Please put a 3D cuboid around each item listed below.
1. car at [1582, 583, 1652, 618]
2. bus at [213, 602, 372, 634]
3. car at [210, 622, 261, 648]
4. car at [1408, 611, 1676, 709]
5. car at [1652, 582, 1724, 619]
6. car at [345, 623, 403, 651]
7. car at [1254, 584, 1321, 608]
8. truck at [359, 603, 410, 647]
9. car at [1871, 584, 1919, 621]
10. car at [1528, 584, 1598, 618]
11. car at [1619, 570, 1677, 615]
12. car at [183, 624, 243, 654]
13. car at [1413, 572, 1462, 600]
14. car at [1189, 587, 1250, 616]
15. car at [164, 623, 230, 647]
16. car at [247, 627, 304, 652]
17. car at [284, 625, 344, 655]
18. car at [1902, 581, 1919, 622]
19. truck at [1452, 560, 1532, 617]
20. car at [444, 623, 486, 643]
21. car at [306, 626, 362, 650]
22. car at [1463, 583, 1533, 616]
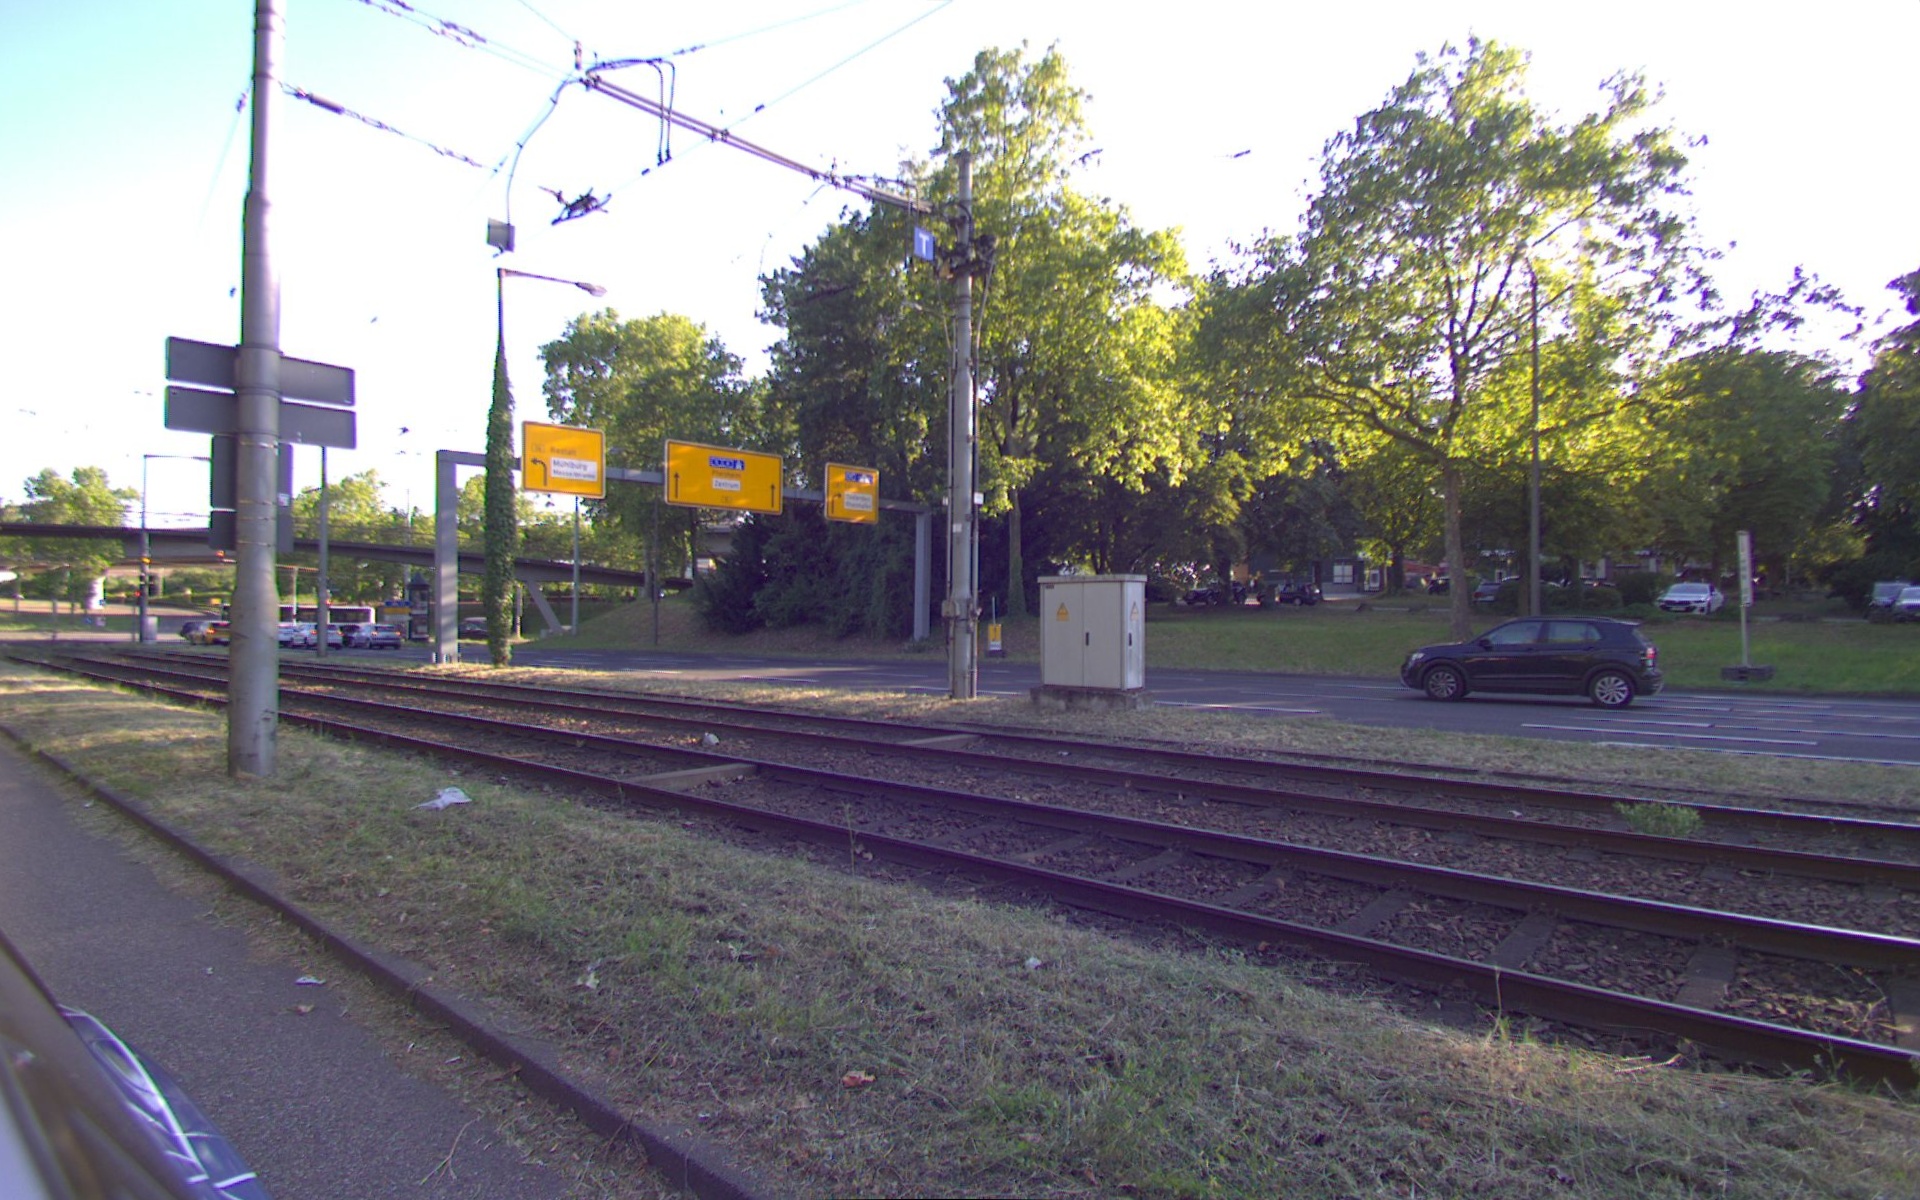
[{"bbox_3d":[30.036,0.008,46.217,1.942,1.521,4.039,0,0,44],"label":"car"},{"bbox_3d":[-65.861,1.714,100.398,12.967,2.884,2.424,-1,0,-29],"label":"bus"},{"bbox_3d":[-45.837,2.182,64.041,4.228,1.561,1.892,-1,-2,44],"label":"car"},{"bbox_3d":[10.262,1.021,18.018,3.962,1.569,1.737,-1,-2,34],"label":"car"},{"bbox_3d":[31.563,0.004,43.841,1.942,1.521,4.039,0,0,44],"label":"car"},{"bbox_3d":[-34.990,2.187,60.405,3.998,1.556,1.789,-1,-1,41],"label":"car"},{"bbox_3d":[20.596,-0.290,63.724,1.649,1.474,3.730,-1,1,-42],"label":"car"},{"bbox_3d":[-40.302,1.740,70.765,2.248,2.901,6.895,0,-1,-37],"label":"truck"},{"bbox_3d":[43.970,0.096,47.223,3.998,1.628,1.864,-1,0,-43],"label":"car"},{"bbox_3d":[28.427,0.016,47.654,1.942,1.521,4.039,0,0,44],"label":"car"},{"bbox_3d":[36.887,-0.399,54.236,2.161,2.320,4.348,0,0,40],"label":"car"},{"bbox_3d":[-40.803,2.122,55.253,3.997,1.556,1.744,-1,-1,40],"label":"car"},{"bbox_3d":[33.557,-0.993,71.058,2.290,1.864,5.214,-1,1,34],"label":"car"},{"bbox_3d":[15.396,0.063,59.954,1.791,1.657,3.942,-1,-1,44],"label":"car"},{"bbox_3d":[-57.910,2.629,76.855,3.934,1.668,1.789,-1,0,-35],"label":"car"},{"bbox_3d":[-40.573,2.306,59.952,4.226,1.435,1.893,-1,-1,42],"label":"car"},{"bbox_3d":[-35.740,2.204,55.953,3.997,1.556,1.744,-1,-1,40],"label":"car"},{"bbox_3d":[37.582,0.037,38.890,1.942,1.521,4.039,0,0,44],"label":"car"},{"bbox_3d":[31.744,-0.687,60.282,2.503,3.191,6.137,0,0,45],"label":"truck"},{"bbox_3d":[-50.792,3.340,103.935,3.748,1.872,1.682,-1,0,-30],"label":"car"},{"bbox_3d":[-39.761,2.411,64.226,4.224,1.435,1.844,-1,-1,40],"label":"car"},{"bbox_3d":[26.171,-0.043,49.183,1.942,1.521,4.039,0,0,44],"label":"car"}]
